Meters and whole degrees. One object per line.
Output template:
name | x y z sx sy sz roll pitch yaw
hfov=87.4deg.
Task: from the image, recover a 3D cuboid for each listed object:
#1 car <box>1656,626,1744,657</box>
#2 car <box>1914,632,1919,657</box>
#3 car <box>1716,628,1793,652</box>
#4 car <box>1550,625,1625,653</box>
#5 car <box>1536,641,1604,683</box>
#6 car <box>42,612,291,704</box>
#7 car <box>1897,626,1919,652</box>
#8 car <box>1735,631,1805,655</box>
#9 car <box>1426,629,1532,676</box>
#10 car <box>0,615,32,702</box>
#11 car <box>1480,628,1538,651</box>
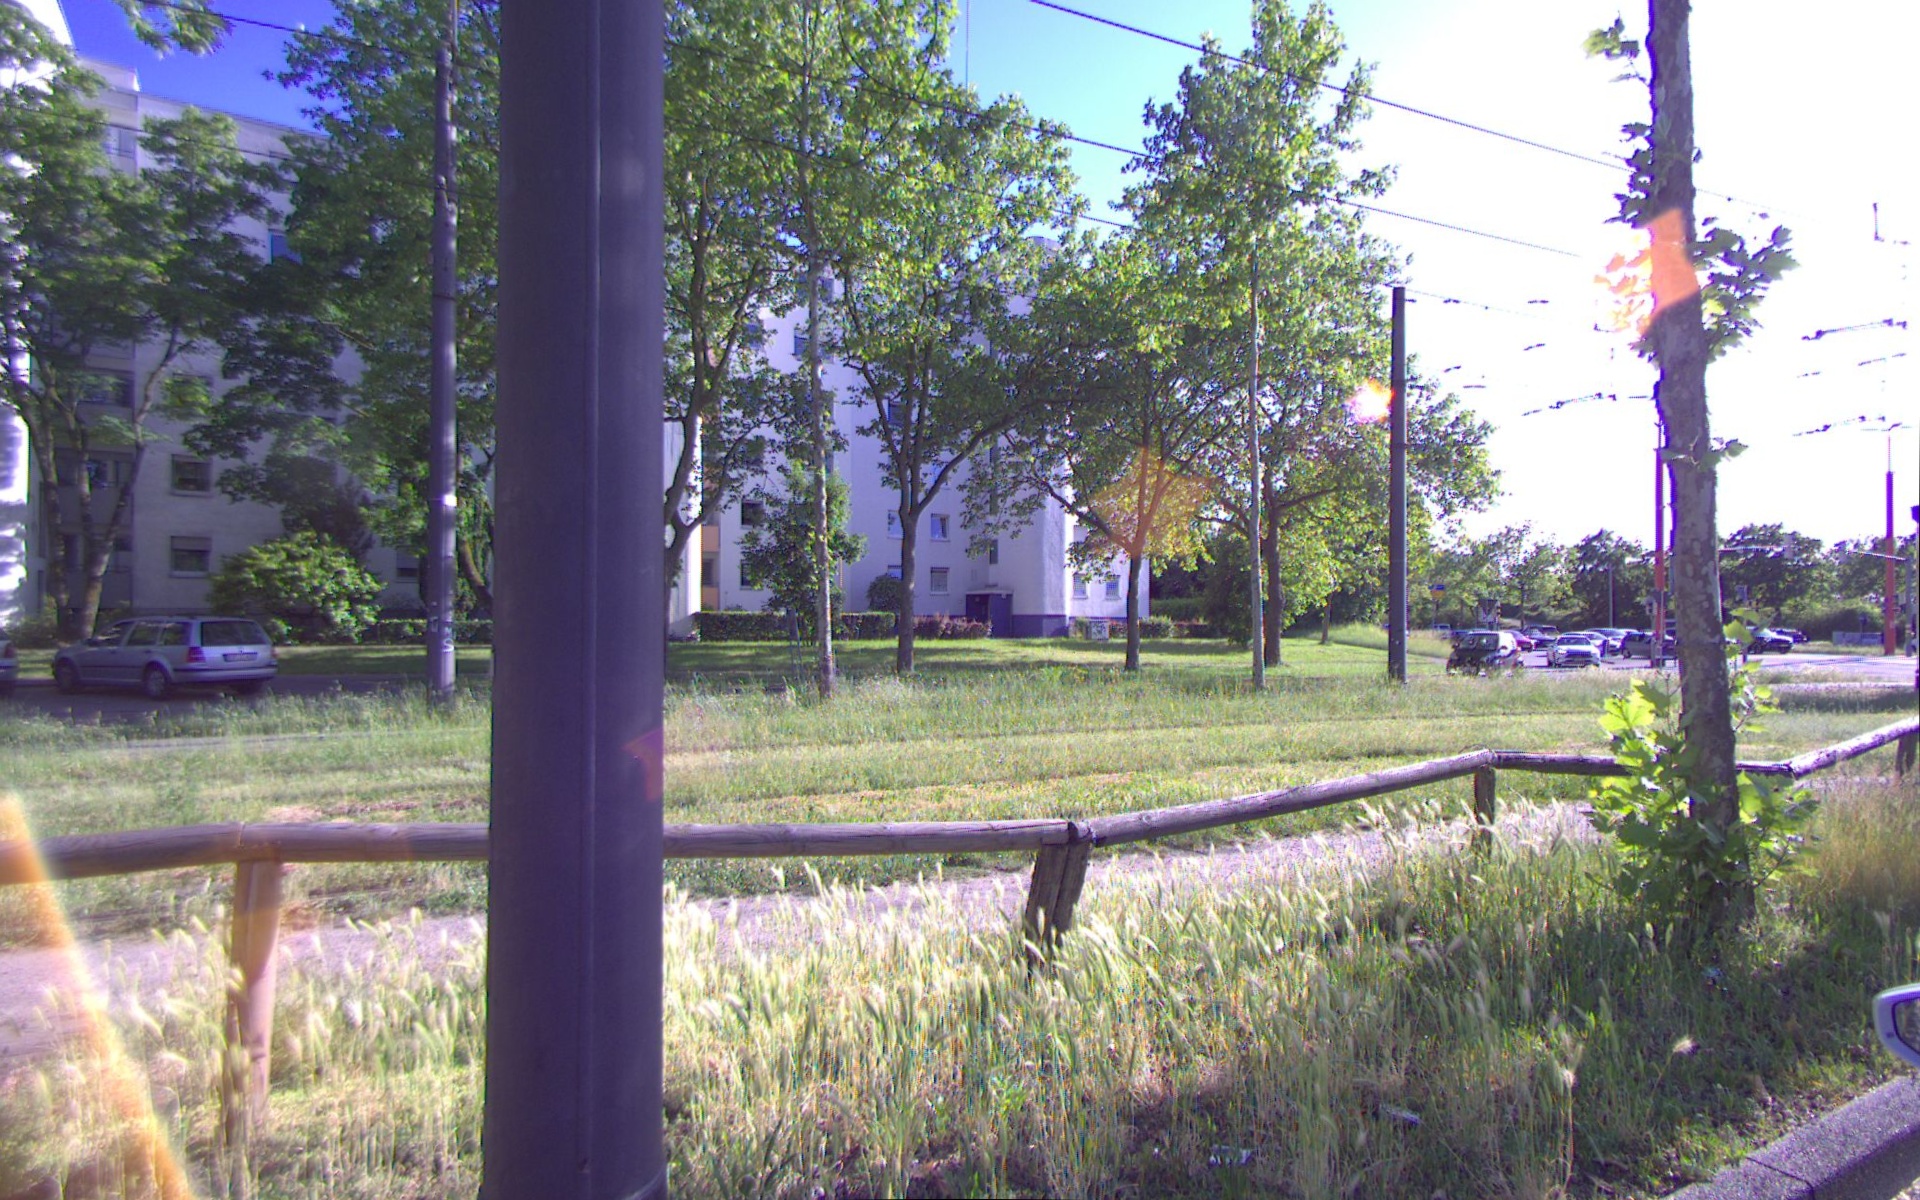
car | 42.498 2.338 57.799 1.962 1.666 3.997 1 -1 -5
car | 64.329 2.937 64.645 1.817 1.665 4.132 1 -1 -3
car | 48.768 2.422 61.732 1.664 1.347 4.001 1 -1 2
car | 38.967 2.410 62.457 1.833 1.633 4.185 1 -1 -4
car | 29.144 2.928 48.125 1.961 1.754 4.844 0 -1 22
car | -14.589 1.009 18.496 3.898 1.462 1.710 1 0 18
car | 59.915 2.410 61.352 1.663 1.543 3.830 1 -1 -4
car | 59.813 3.150 74.241 1.793 1.619 4.132 1 -1 -2
car | 16.560 1.640 32.073 2.816 1.409 1.790 1 -1 -30
car | -17.974 0.966 17.161 3.547 1.439 1.576 1 0 18
car | 38.447 2.758 70.401 1.699 1.533 3.998 1 -1 -4
